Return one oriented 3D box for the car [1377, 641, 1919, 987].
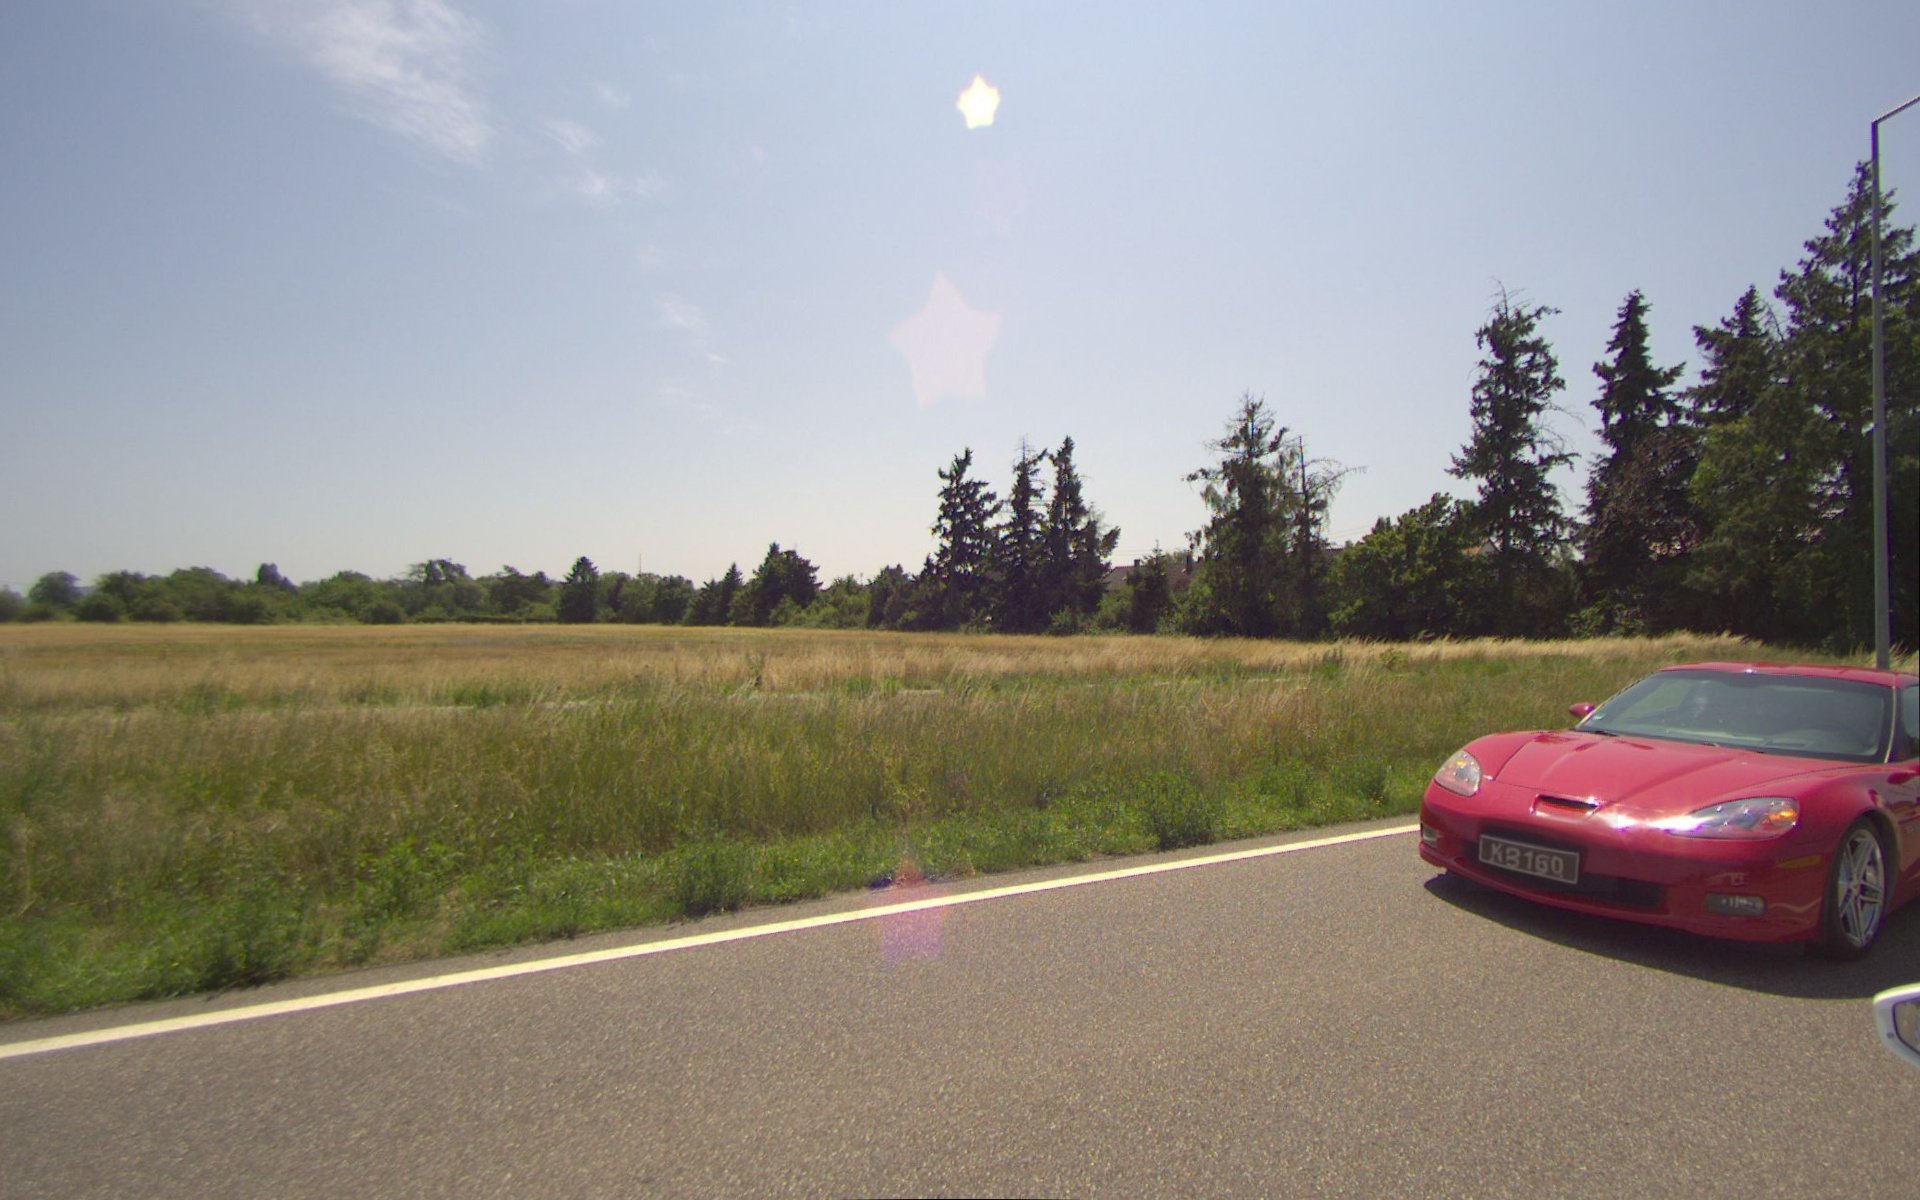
[{"bbox_3d":[4.533,0.928,5.741,4.236,1.302,1.799,2,-2,-30],"label":"car"}]
